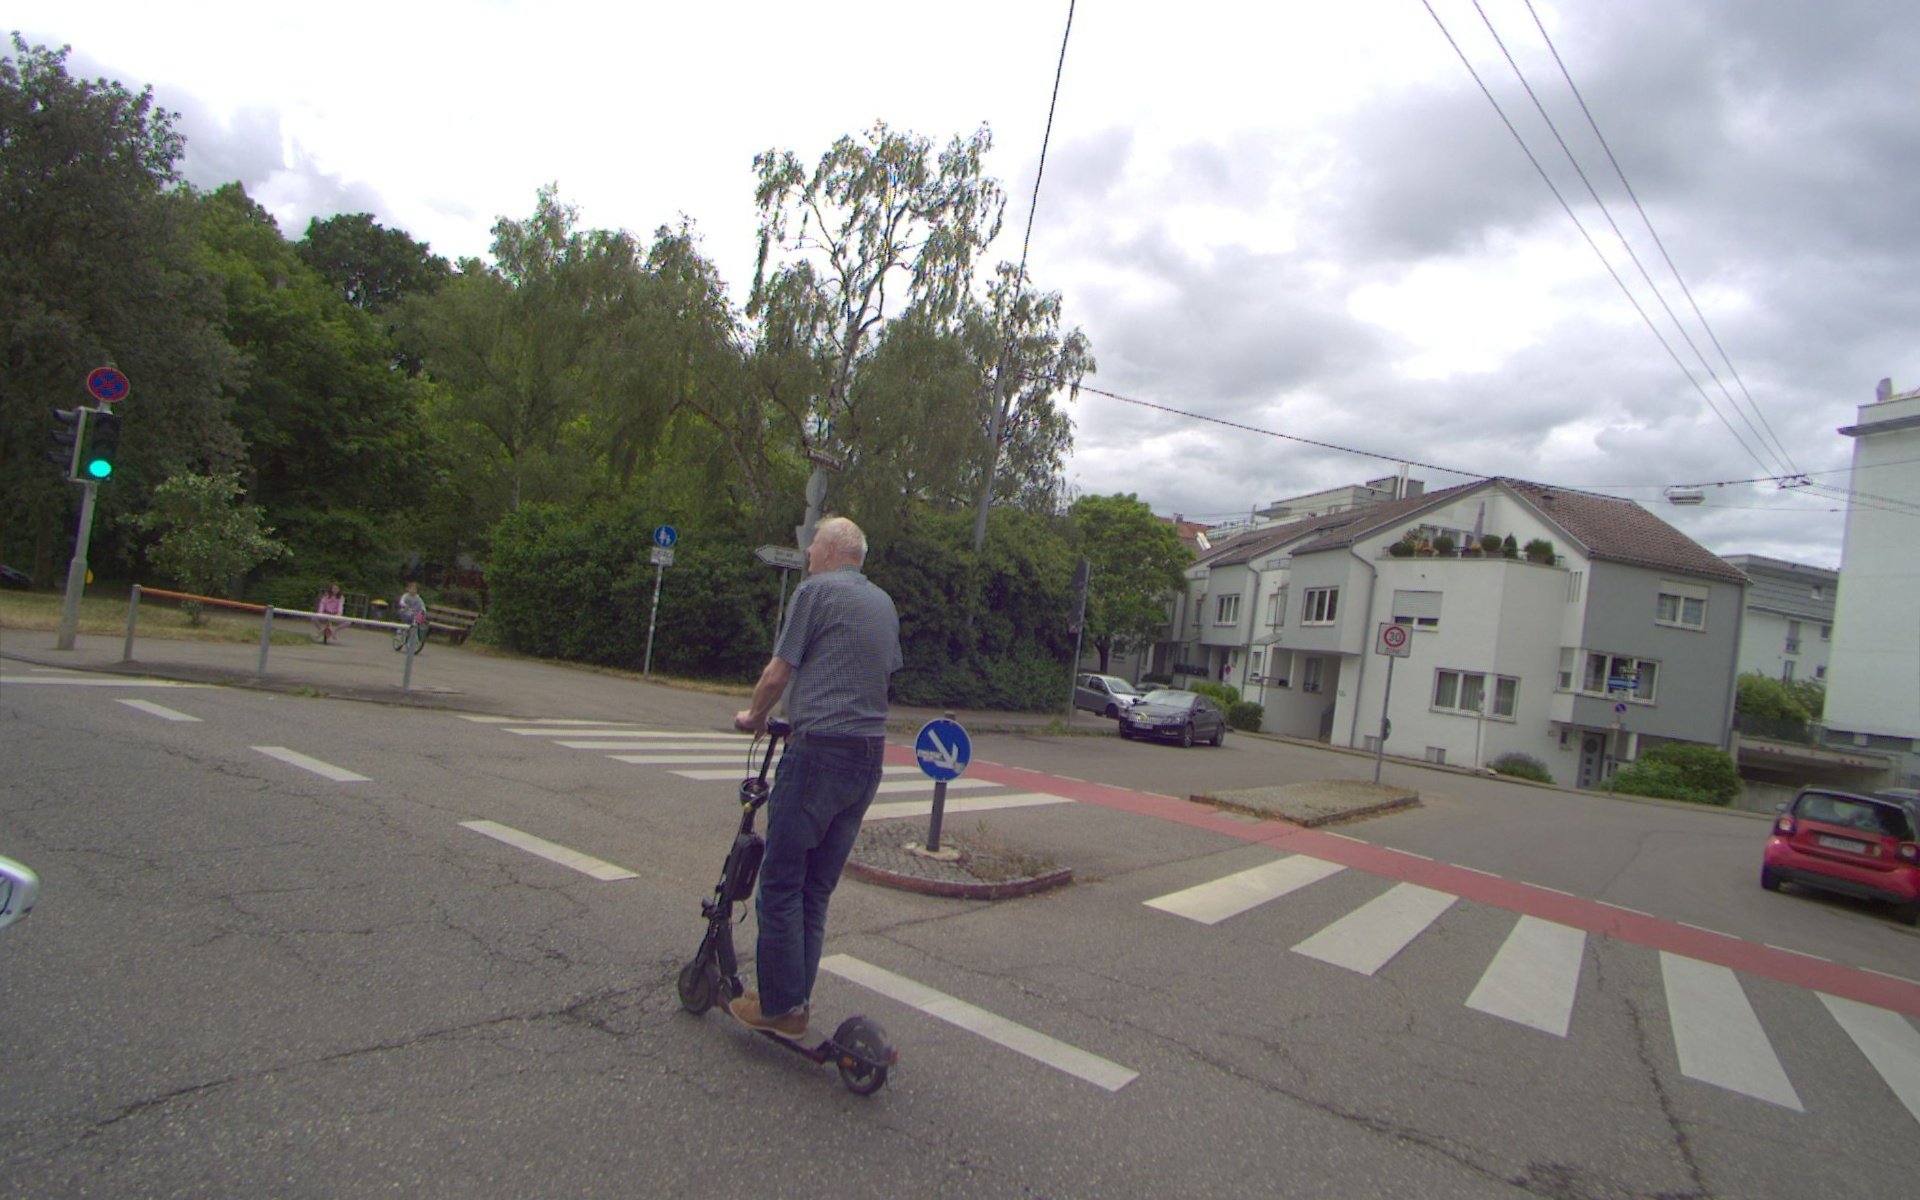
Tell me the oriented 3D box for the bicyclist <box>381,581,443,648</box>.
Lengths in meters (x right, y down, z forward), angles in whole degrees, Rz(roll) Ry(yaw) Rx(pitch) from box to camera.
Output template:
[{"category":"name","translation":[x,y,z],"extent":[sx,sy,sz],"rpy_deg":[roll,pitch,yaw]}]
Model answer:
[{"category":"bicyclist","translation":[-10.606,0.281,19.465],"extent":[0.791,1.175,0.640],"rpy_deg":[5,-3,33]}]

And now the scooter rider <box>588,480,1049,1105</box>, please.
[{"category":"scooter rider","translation":[-0.472,0.561,3.484],"extent":[1.175,1.750,0.684],"rpy_deg":[7,-1,25]}]

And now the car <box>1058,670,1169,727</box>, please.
[{"category":"car","translation":[5.420,3.478,35.869],"extent":[1.792,1.503,3.638],"rpy_deg":[9,-4,-34]}]

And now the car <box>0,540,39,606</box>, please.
[{"category":"car","translation":[-24.023,-0.865,23.157],"extent":[1.549,1.492,3.729],"rpy_deg":[6,-4,27]}]

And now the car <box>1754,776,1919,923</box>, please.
[{"category":"car","translation":[12.568,3.443,14.244],"extent":[1.674,1.523,2.908],"rpy_deg":[7,-3,45]}]

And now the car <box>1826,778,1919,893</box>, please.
[{"category":"car","translation":[16.624,4.073,16.801],"extent":[3.781,1.608,1.809],"rpy_deg":[10,-4,-25]}]

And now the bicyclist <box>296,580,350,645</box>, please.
[{"category":"bicyclist","translation":[-12.511,0.243,19.750],"extent":[0.954,1.200,0.517],"rpy_deg":[3,-3,40]}]

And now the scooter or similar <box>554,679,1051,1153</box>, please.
[{"category":"scooter or similar","translation":[-0.544,0.963,3.502],"extent":[1.433,1.152,0.684],"rpy_deg":[7,-2,25]}]

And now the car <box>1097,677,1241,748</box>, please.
[{"category":"car","translation":[5.700,3.055,26.965],"extent":[2.006,1.454,4.793],"rpy_deg":[6,-3,34]}]

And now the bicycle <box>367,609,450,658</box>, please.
[{"category":"bicycle","translation":[-10.675,0.649,19.454],"extent":[1.654,0.767,0.640],"rpy_deg":[4,-3,34]}]

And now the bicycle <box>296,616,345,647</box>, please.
[{"category":"bicycle","translation":[-12.553,0.619,19.739],"extent":[0.975,0.503,0.517],"rpy_deg":[3,-4,40]}]

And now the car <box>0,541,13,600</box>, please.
[{"category":"car","translation":[-25.971,-1.012,24.301],"extent":[1.547,1.492,4.156],"rpy_deg":[5,-4,19]}]
